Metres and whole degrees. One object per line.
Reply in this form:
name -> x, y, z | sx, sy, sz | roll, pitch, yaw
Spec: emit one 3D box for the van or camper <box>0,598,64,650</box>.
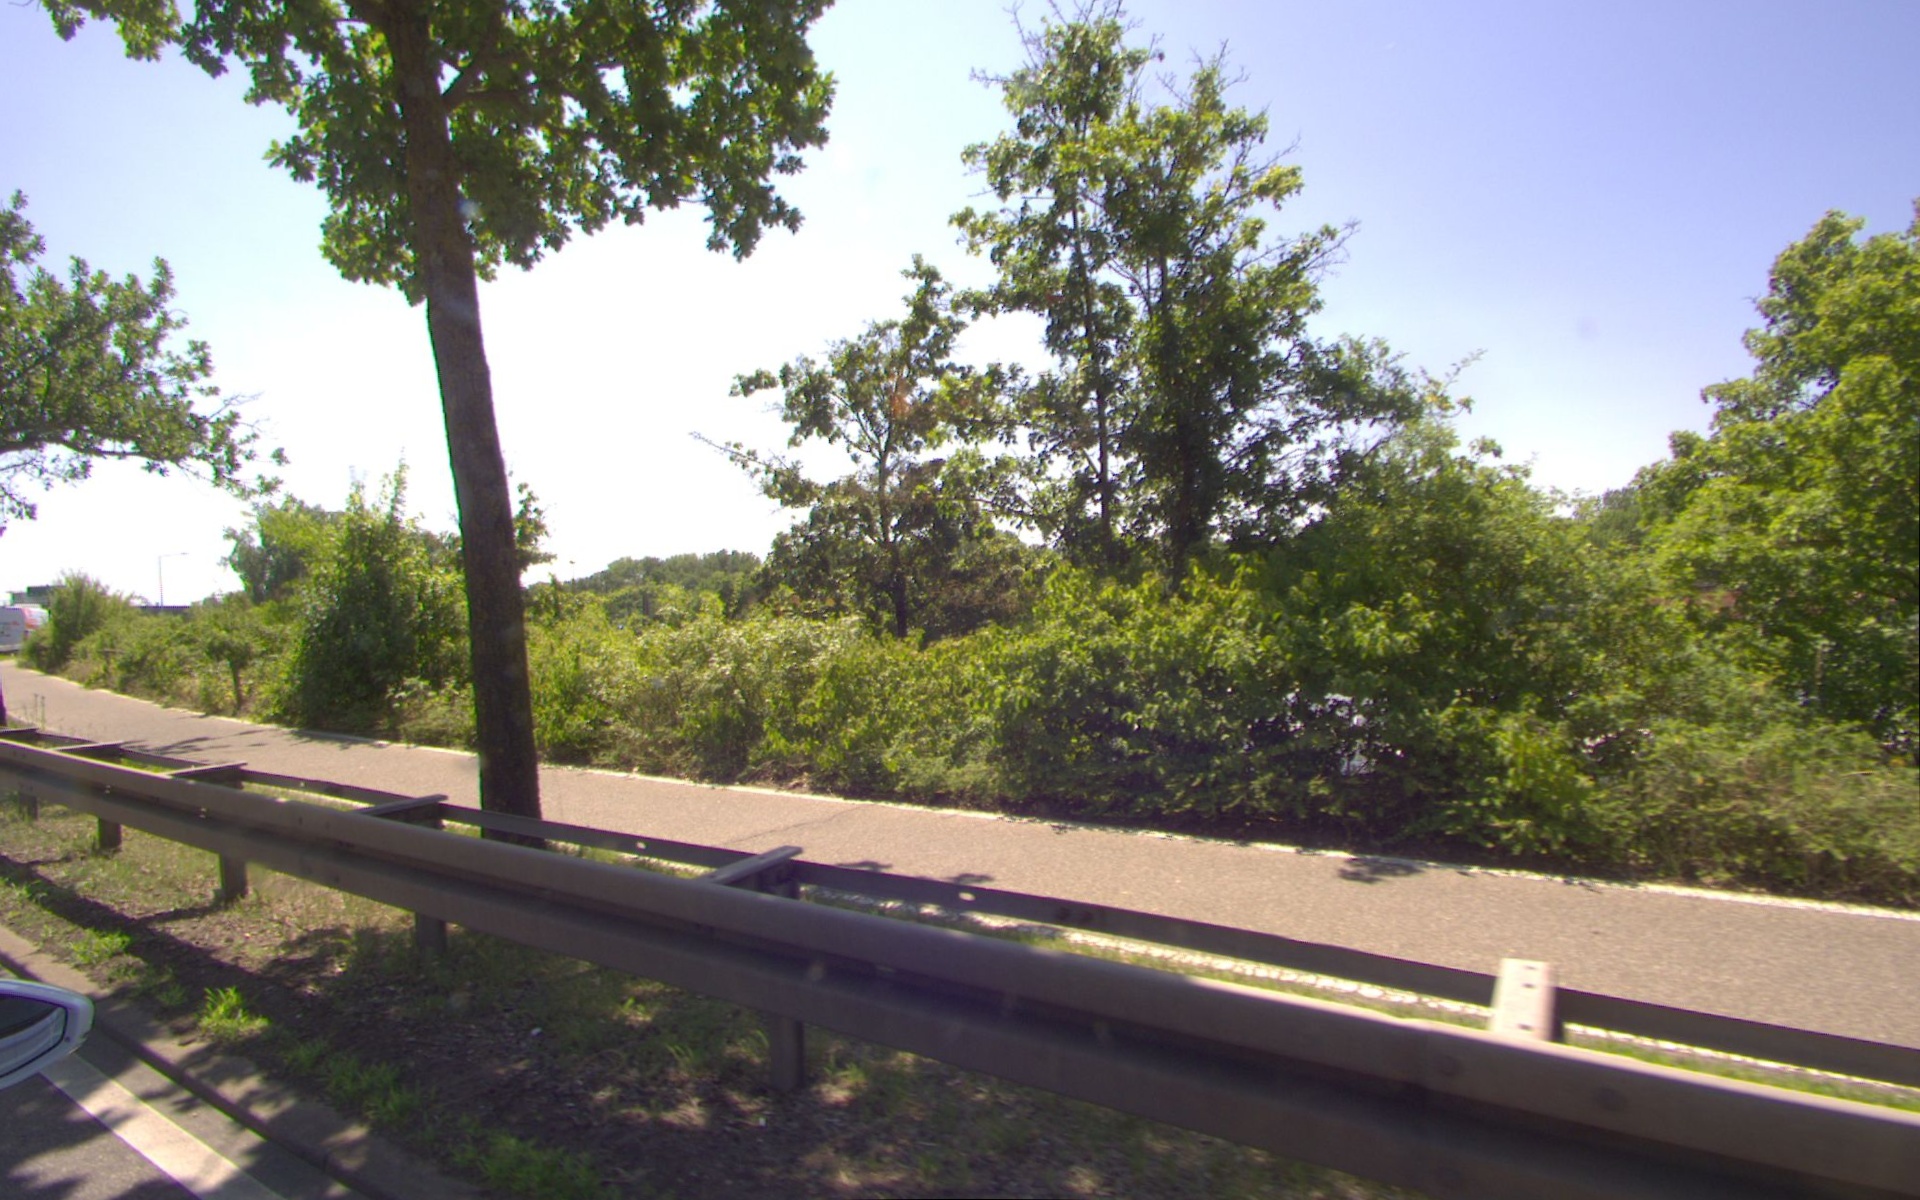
van or camper -> -51.914, 1.328, 55.539 | 2.179, 2.746, 5.894 | 0, -1, -30
